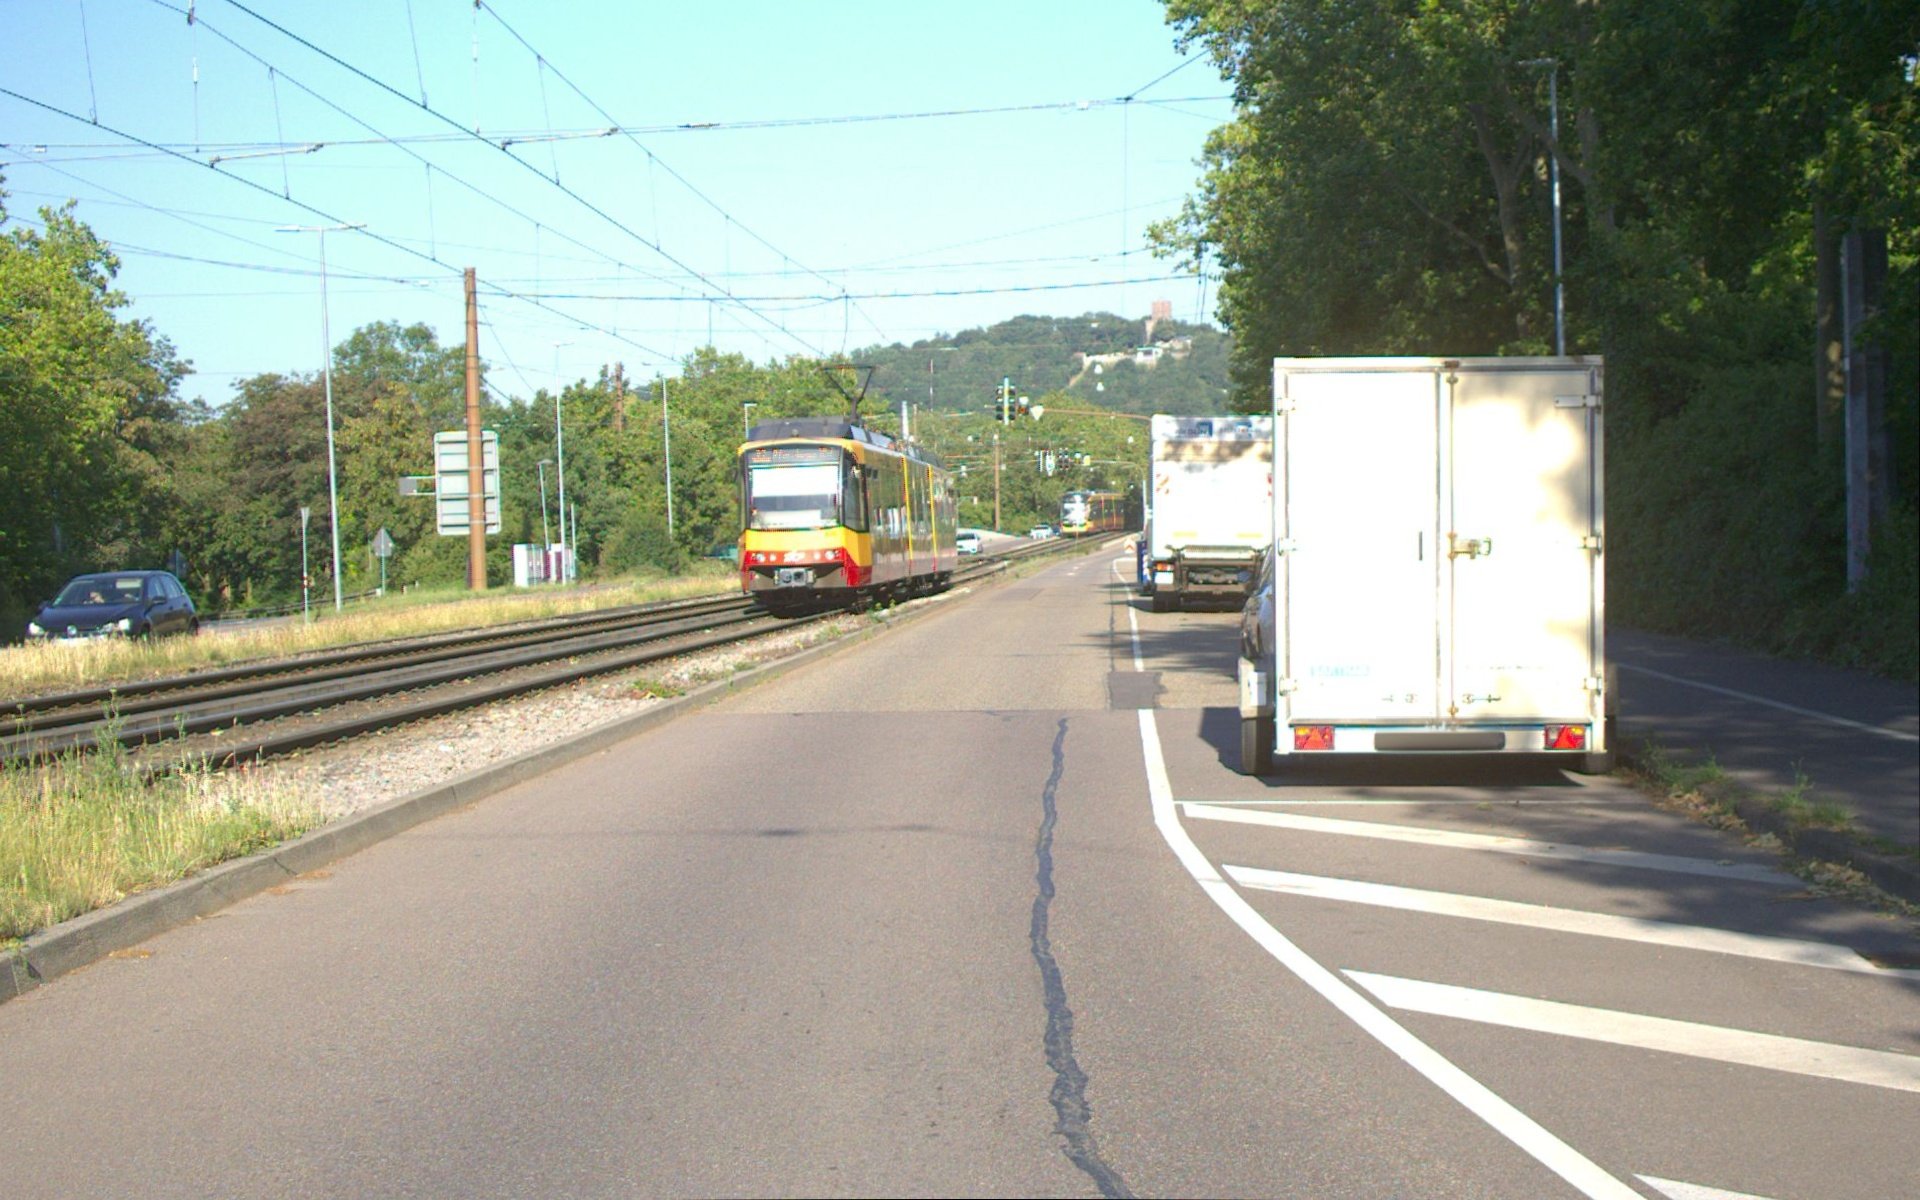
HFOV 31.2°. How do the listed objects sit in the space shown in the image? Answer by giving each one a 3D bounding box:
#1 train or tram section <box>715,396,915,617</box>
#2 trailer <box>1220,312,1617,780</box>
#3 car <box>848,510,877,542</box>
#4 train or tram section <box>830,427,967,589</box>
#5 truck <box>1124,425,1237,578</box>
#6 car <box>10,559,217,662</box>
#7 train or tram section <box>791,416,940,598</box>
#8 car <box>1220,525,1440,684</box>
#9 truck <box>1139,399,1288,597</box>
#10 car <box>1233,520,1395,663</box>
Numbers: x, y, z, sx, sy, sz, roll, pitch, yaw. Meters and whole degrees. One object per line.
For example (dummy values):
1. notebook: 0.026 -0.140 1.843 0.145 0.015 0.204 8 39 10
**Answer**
1. train or tram section: -2.835 -1.928 72.056 2.722 4.077 13.614 -2 1 3
2. trailer: 2.957 -0.370 22.914 2.251 2.685 5.946 -1 1 6
3. car: -6.230 -4.713 219.903 1.724 2.007 4.000 0 1 0
4. train or tram section: -1.579 -2.508 95.118 2.720 4.075 12.812 -2 1 3
5. truck: 5.687 -2.551 89.858 2.717 3.770 9.761 0 1 3
6. car: -13.004 0.133 53.087 1.773 1.420 4.489 -2 1 4
7. train or tram section: -2.201 -2.247 83.760 2.695 4.075 9.910 -2 1 3
8. car: 3.568 0.000 33.781 1.809 1.452 4.166 0 1 2
9. truck: 5.110 -2.069 70.749 2.742 3.770 10.089 0 1 3
10. car: 4.024 -0.132 39.511 1.640 1.531 3.640 1 1 3
